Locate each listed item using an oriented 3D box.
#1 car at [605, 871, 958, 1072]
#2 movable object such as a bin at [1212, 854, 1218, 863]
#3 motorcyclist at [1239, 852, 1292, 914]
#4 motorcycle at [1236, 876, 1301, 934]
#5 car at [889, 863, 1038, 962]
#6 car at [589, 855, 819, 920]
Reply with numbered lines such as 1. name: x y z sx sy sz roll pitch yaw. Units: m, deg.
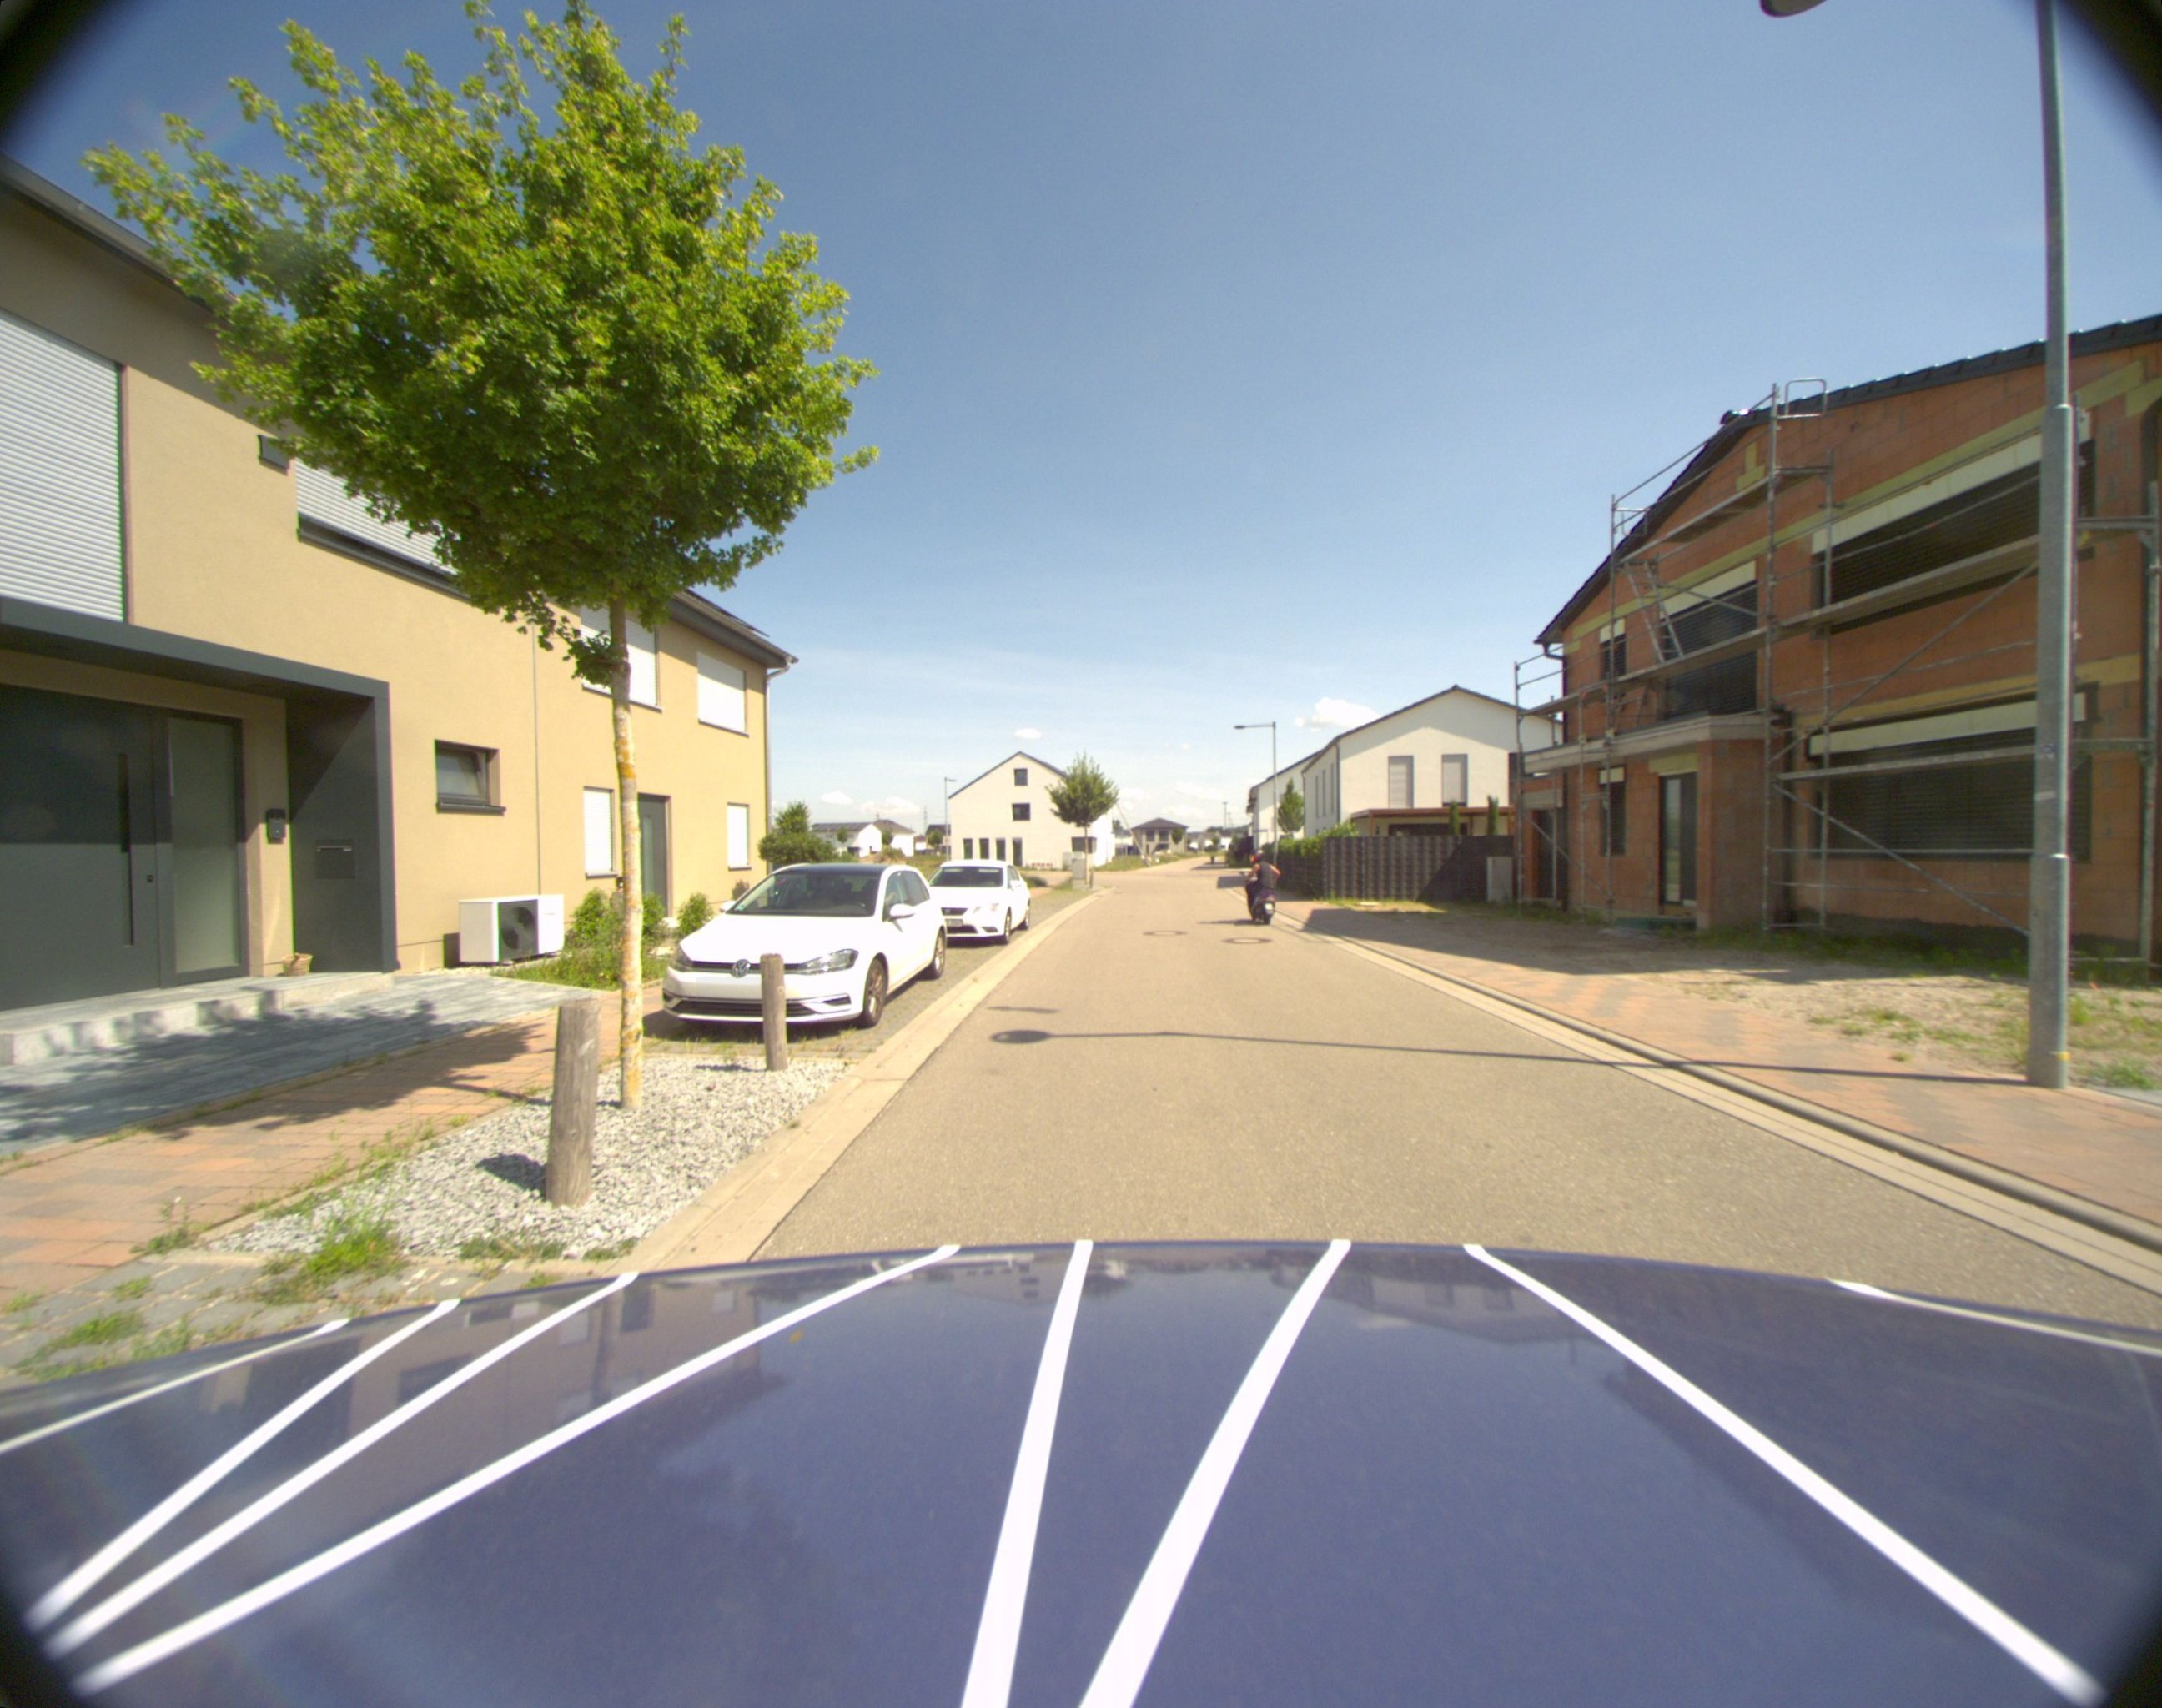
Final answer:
1. car: -2.659 0.946 8.056 1.784 1.417 4.515 1 0 2
2. movable object such as a bin: 13.912 0.452 78.941 0.597 0.916 0.462 0 1 13
3. motorcyclist: 3.818 0.589 15.770 0.926 1.215 0.804 -2 0 6
4. motorcycle: 3.846 1.015 15.808 0.958 1.029 2.437 -3 0 6
5. car: -2.003 0.956 14.357 1.818 1.447 4.565 1 1 4
6. car: -9.489 0.796 19.344 4.897 1.417 2.001 2 1 6
